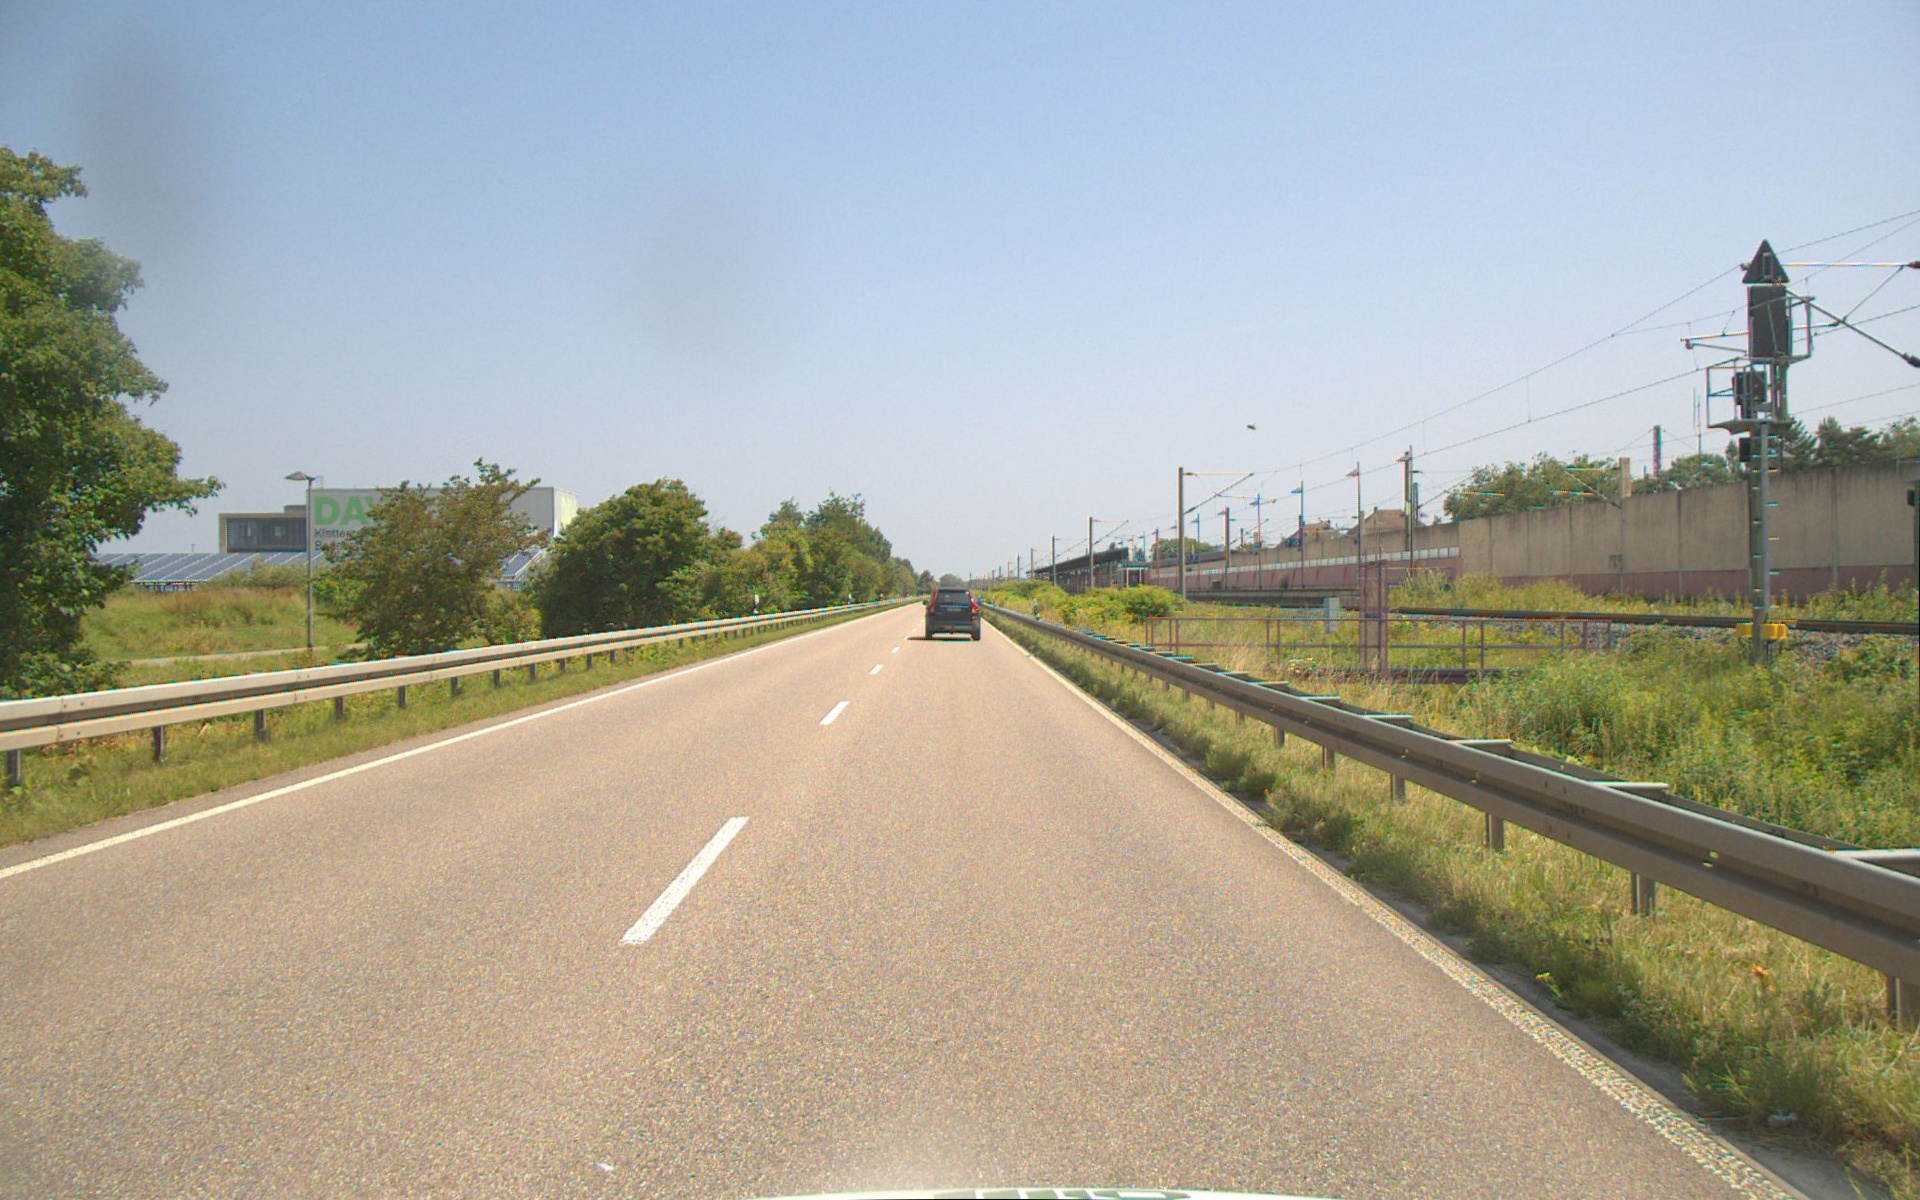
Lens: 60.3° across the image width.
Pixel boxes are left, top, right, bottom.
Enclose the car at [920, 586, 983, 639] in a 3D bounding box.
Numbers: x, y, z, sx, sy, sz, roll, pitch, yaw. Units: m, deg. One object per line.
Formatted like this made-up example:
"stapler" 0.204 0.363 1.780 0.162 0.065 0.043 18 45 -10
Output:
"car" -0.331 0.390 56.040 1.954 1.730 3.998 0 0 -3
